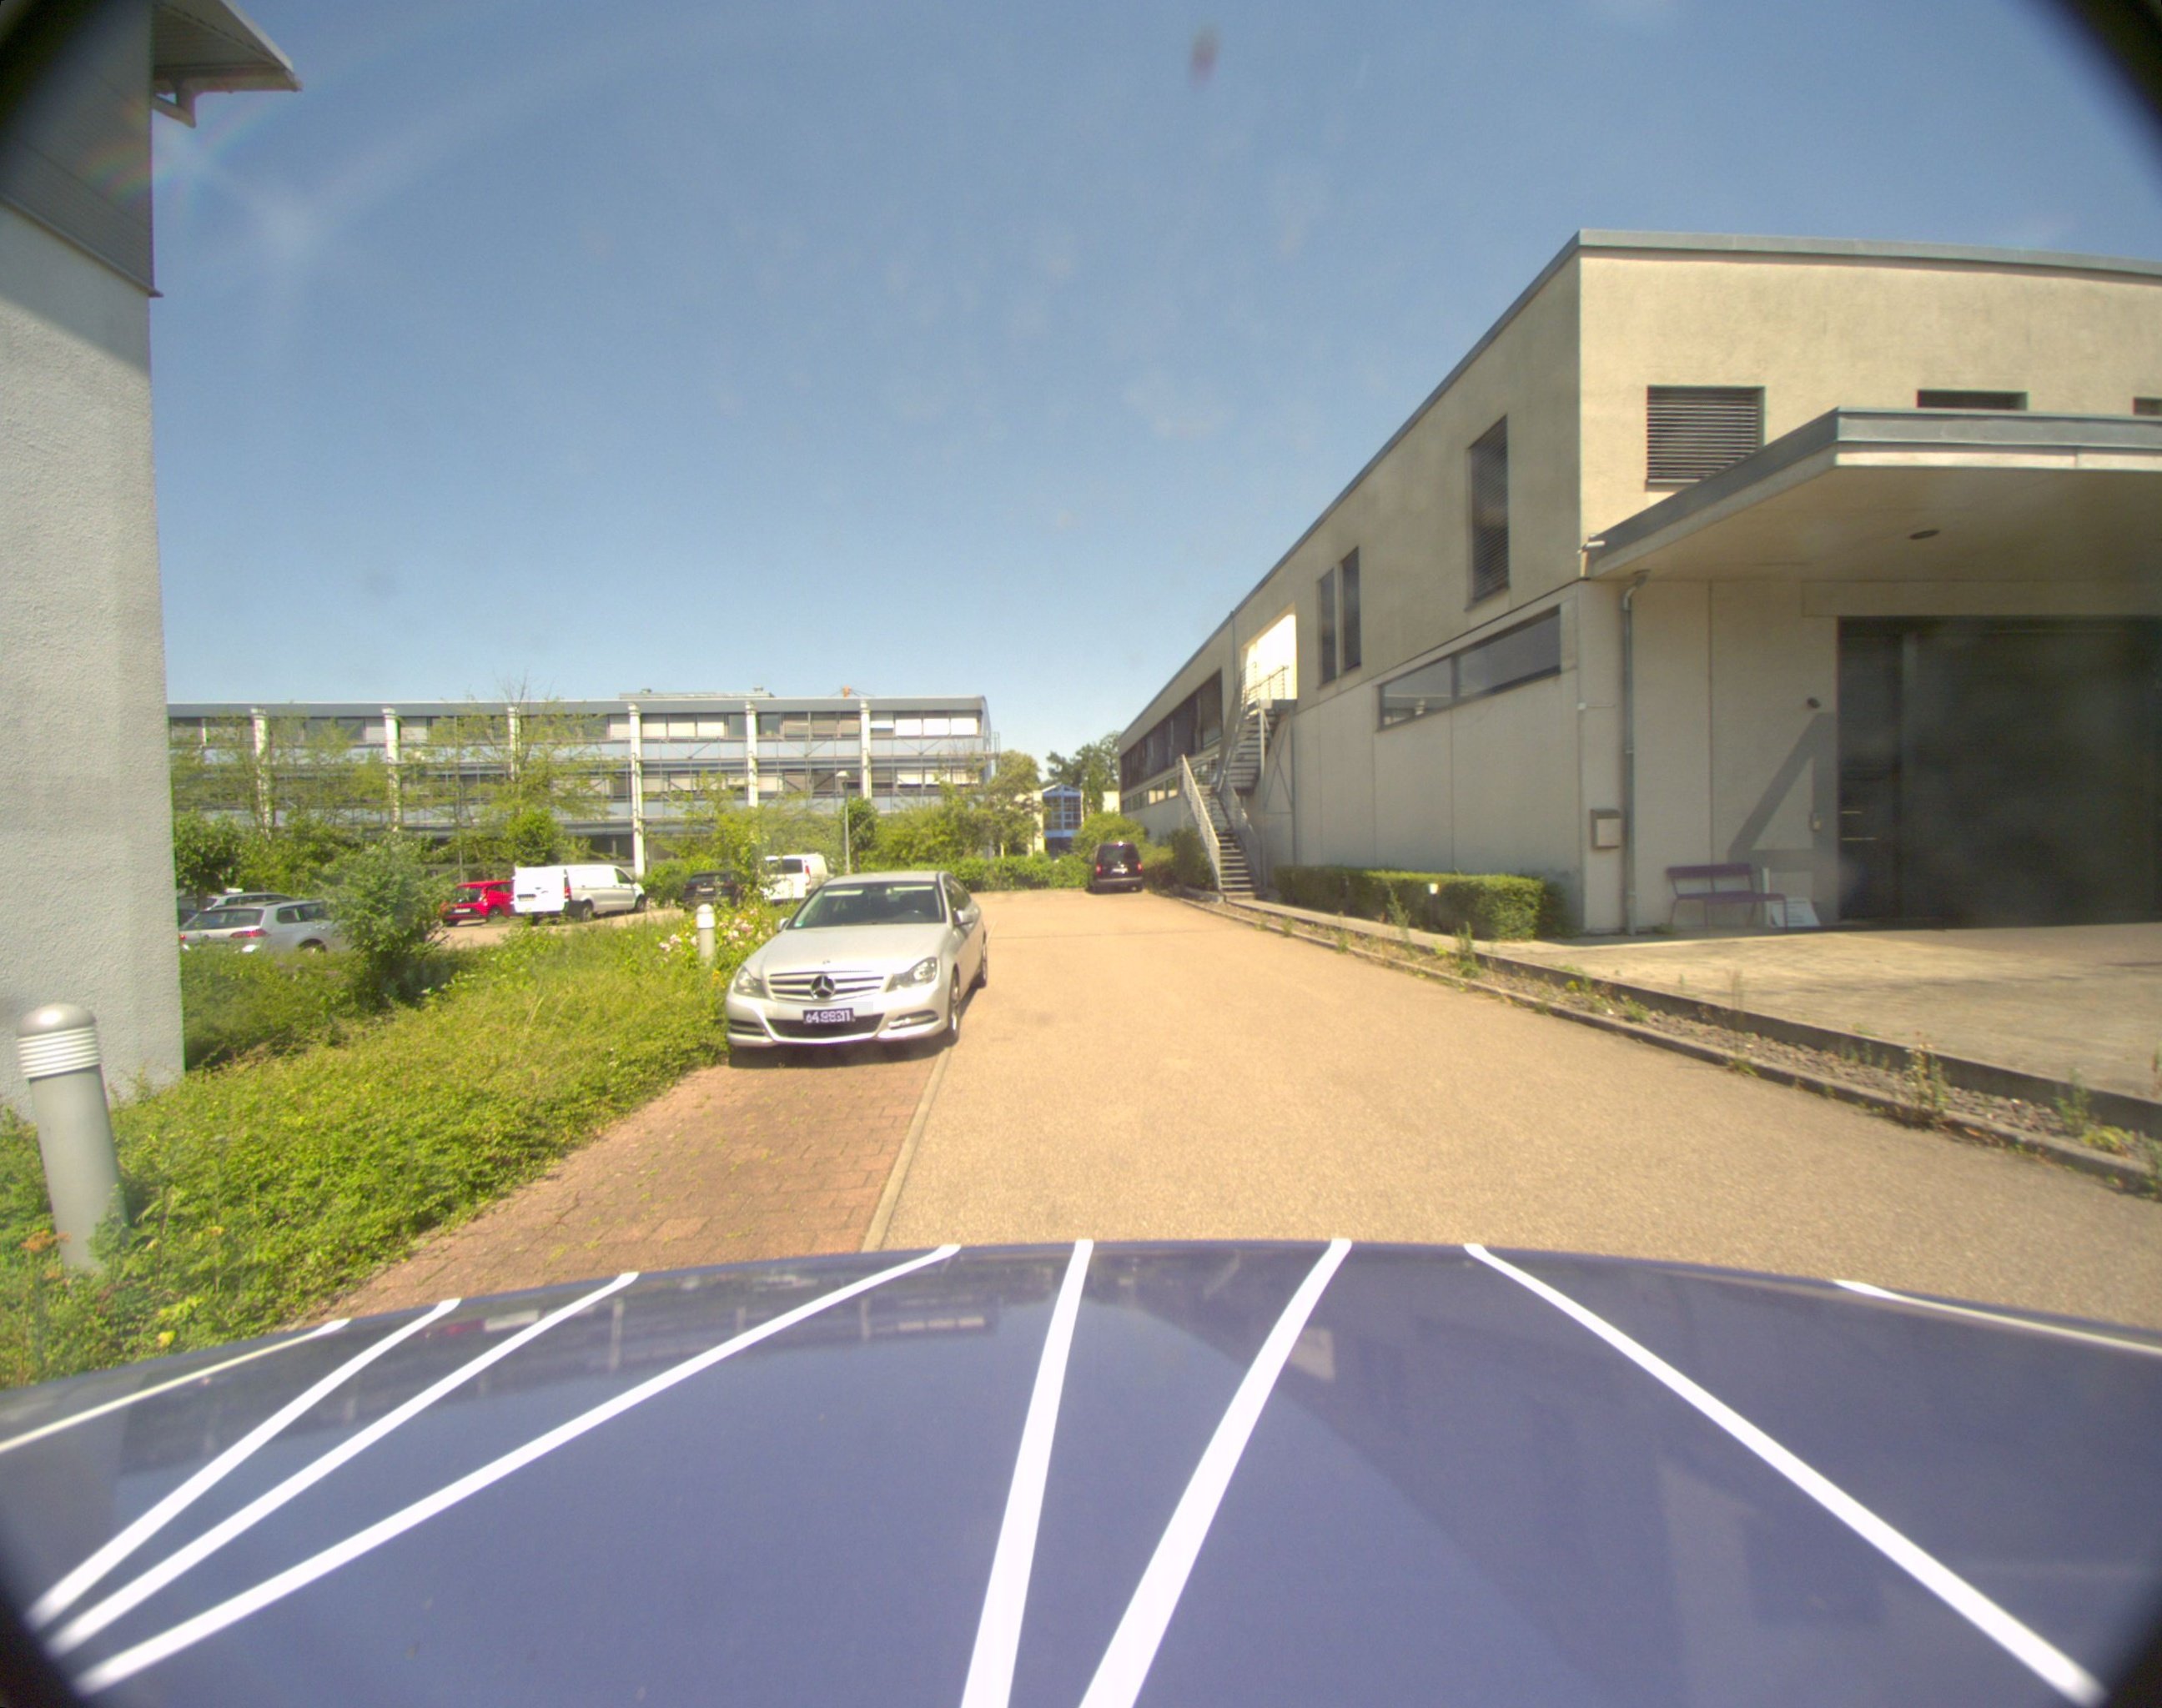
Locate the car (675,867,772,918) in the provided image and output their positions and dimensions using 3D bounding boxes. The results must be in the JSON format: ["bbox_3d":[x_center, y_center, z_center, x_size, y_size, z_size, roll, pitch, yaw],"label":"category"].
[{"bbox_3d":[-12.625,1.287,27.124,1.739,1.475,4.195,-3,1,-5],"label":"car"}]

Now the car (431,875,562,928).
[{"bbox_3d":[-20.421,1.612,26.768,1.624,1.479,3.919,-3,1,-3],"label":"car"}]

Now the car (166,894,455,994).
[{"bbox_3d":[-16.067,1.775,16.271,1.856,1.511,4.425,-3,0,-5],"label":"car"}]

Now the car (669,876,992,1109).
[{"bbox_3d":[-2.014,1.037,7.564,1.804,1.390,4.418,-2,1,-2],"label":"car"}]

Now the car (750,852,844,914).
[{"bbox_3d":[-9.836,0.919,26.722,1.868,1.849,4.674,-3,1,-5],"label":"car"}]

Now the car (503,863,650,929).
[{"bbox_3d":[-17.048,1.334,26.049,1.856,1.845,4.933,-3,1,-3],"label":"car"}]

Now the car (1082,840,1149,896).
[{"bbox_3d":[1.205,0.456,28.549,1.868,1.849,4.226,-3,1,-5],"label":"car"}]
